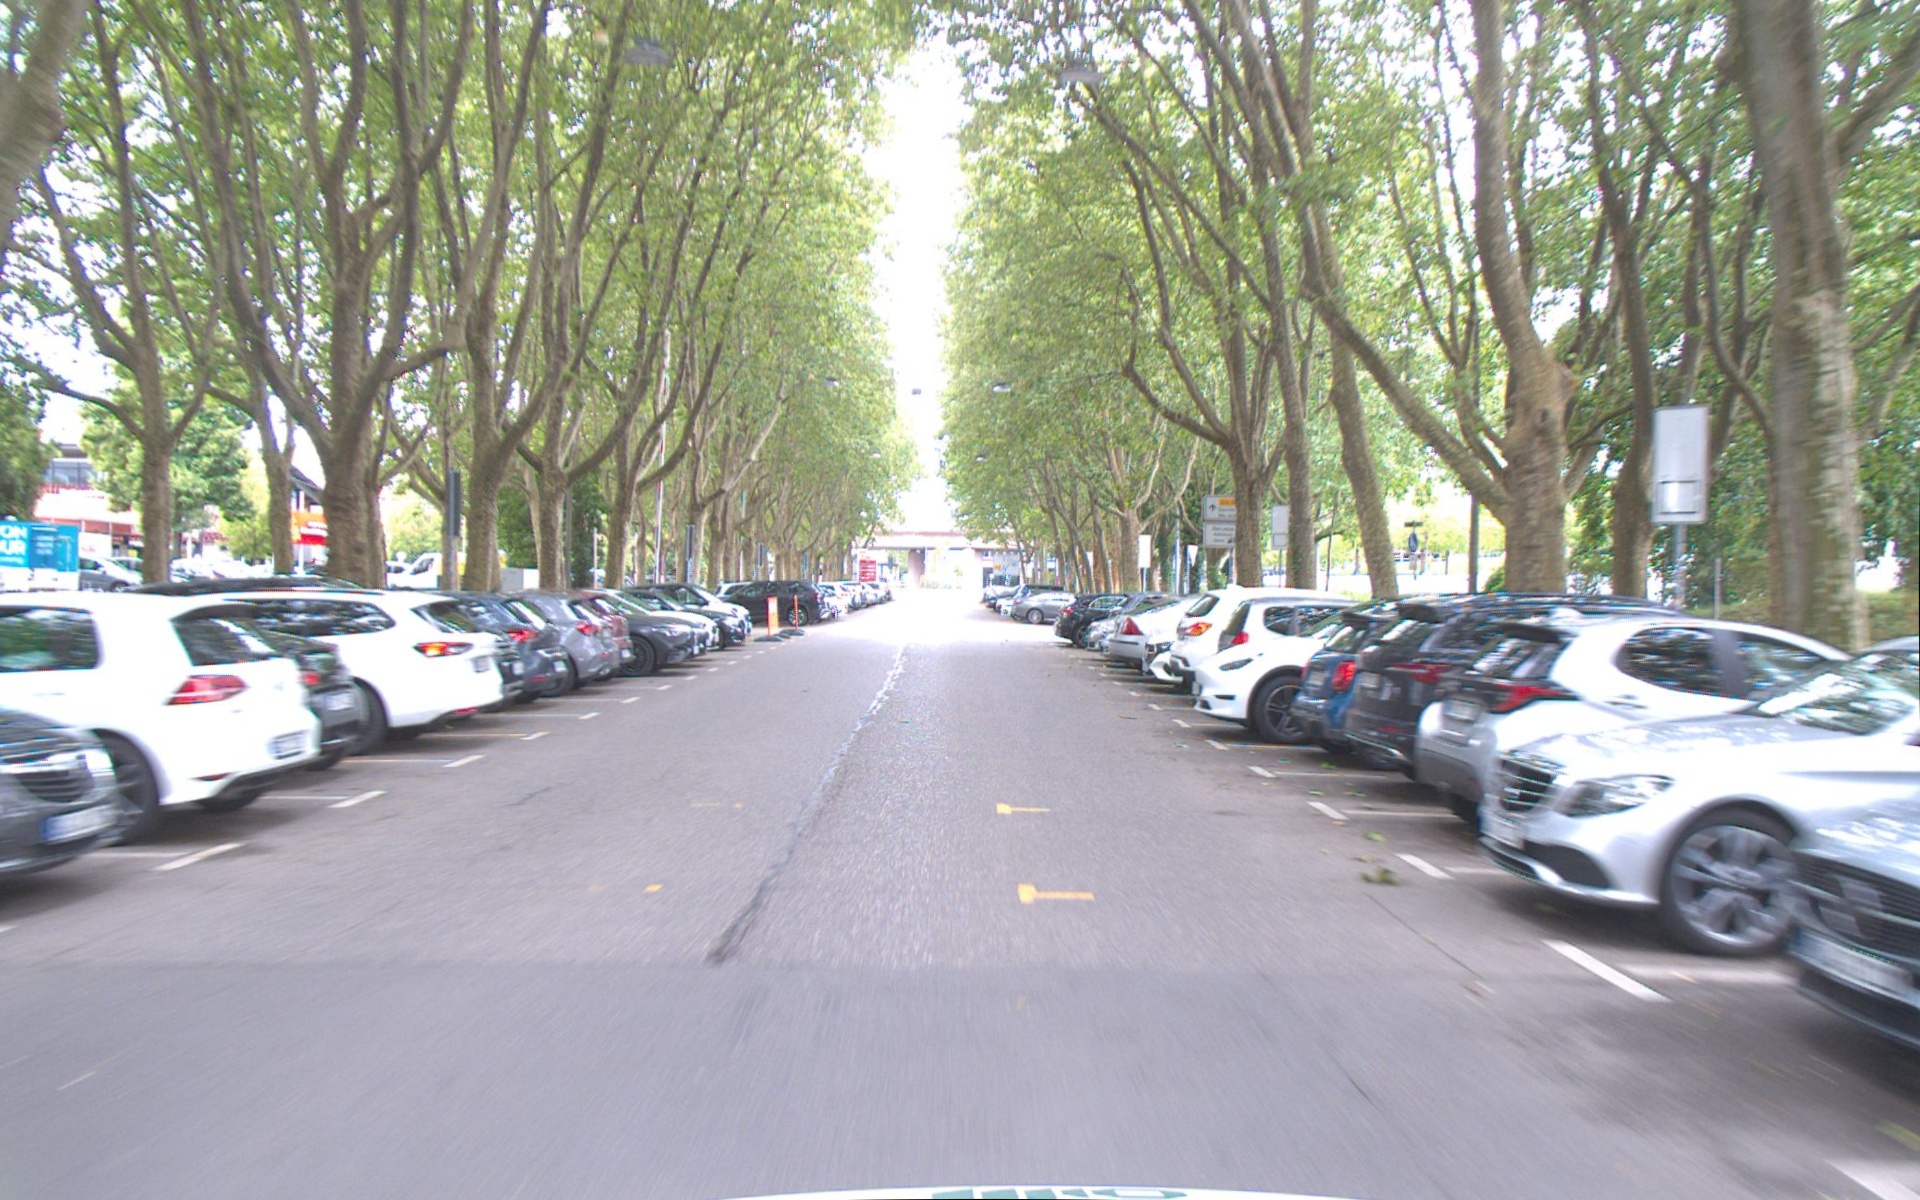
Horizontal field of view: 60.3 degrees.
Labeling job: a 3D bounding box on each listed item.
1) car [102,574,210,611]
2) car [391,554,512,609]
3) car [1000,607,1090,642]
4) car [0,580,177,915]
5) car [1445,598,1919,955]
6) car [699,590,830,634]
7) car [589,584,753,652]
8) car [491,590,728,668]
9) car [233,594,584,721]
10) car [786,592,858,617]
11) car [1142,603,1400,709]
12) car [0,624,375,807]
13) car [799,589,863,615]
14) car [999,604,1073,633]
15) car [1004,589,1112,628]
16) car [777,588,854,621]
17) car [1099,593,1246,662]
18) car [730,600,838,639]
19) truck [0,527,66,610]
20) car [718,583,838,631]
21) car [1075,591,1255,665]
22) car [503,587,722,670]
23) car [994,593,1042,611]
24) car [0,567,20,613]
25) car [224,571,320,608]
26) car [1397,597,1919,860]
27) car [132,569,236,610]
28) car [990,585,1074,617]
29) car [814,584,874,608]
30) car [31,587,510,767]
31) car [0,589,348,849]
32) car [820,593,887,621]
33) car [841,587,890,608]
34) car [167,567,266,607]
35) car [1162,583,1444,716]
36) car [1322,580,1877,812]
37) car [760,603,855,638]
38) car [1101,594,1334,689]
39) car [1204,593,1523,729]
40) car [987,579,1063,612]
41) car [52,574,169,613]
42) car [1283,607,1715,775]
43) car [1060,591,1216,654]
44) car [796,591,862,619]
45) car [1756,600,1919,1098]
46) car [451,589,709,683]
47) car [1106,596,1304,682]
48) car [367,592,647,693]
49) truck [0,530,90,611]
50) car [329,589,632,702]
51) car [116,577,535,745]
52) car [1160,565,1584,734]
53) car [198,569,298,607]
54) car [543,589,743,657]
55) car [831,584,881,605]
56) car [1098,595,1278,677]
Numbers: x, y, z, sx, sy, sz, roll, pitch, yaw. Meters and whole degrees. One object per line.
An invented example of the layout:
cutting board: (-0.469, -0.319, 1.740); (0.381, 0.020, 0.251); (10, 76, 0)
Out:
car: (-33.502, -0.321, 68.987); (3.680, 1.373, 1.535); (2, 0, -3)
car: (-23.133, -0.842, 75.366); (4.976, 2.271, 1.535); (2, 0, -2)
car: (3.990, 1.130, 77.371); (4.087, 1.467, 1.732); (2, 0, 4)
car: (-6.169, 0.631, 7.570); (4.313, 1.388, 1.693); (-1, 0, -4)
car: (4.728, 0.814, 8.067); (4.212, 1.495, 1.622); (2, 0, -4)
car: (-7.068, 0.436, 60.172); (4.571, 1.452, 1.999); (-1, 0, -2)
car: (-6.997, 0.419, 40.364); (3.751, 1.582, 1.693); (-1, 0, -4)
car: (-6.916, 0.567, 32.902); (4.309, 1.455, 1.695); (-1, 0, 2)
car: (-6.747, 0.676, 20.561); (3.750, 1.455, 1.801); (-1, 0, -2)
car: (-7.730, 0.257, 92.807); (3.733, 1.319, 1.787); (-1, 0, 5)
car: (4.699, 0.832, 25.218); (3.573, 1.434, 1.518); (2, 0, -4)
car: (-6.340, 0.840, 12.563); (3.250, 1.224, 1.584); (-1, 0, -4)
car: (-7.980, 0.123, 102.558); (3.733, 1.542, 1.687); (-1, 0, 5)
car: (4.210, 1.042, 92.283); (3.968, 1.494, 1.730); (2, 0, -3)
car: (4.174, 0.356, 70.190); (4.478, 1.512, 2.001); (2, 0, 4)
car: (-7.608, 0.216, 87.360); (3.733, 1.630, 1.787); (-1, 0, 5)
car: (5.203, 0.662, 40.777); (3.356, 1.534, 1.555); (2, 0, -2)
car: (-6.923, 0.746, 65.380); (4.083, 1.405, 1.870); (-1, 0, -2)
truck: (-34.120, -1.149, 57.246); (5.205, 2.790, 1.928); (2, 0, -1)
car: (-6.864, 0.254, 62.785); (4.382, 1.706, 1.762); (-1, 0, -2)
car: (4.376, 0.588, 35.551); (3.604, 1.448, 1.518); (2, 0, -2)
car: (-6.410, 0.518, 30.778); (3.751, 1.455, 1.693); (-1, -1, -4)
car: (5.294, 0.149, 151.871); (4.287, 1.549, 1.731); (2, 0, 0)
car: (-33.375, -0.393, 54.516); (3.725, 1.512, 1.712); (2, 0, -2)
car: (-33.156, -0.493, 79.727); (3.902, 1.617, 1.695); (2, 0, 8)
car: (4.960, 0.799, 10.834); (3.701, 1.495, 1.622); (2, 0, -4)
car: (-33.468, -0.450, 71.378); (3.680, 1.617, 1.535); (2, 0, -3)
car: (3.604, 0.044, 82.236); (4.087, 1.467, 1.732); (2, 0, 4)
car: (-7.769, -0.277, 110.629); (3.733, 1.542, 1.687); (-1, 0, 5)
car: (-6.304, 0.667, 15.454); (3.751, 1.523, 1.693); (-1, 0, -4)
car: (-5.969, 0.683, 10.195); (3.751, 1.455, 1.693); (-1, 0, -4)
car: (-6.252, 0.384, 97.264); (3.733, 1.542, 1.687); (-1, 0, 5)
car: (-7.542, -0.190, 131.836); (3.734, 1.542, 1.686); (1, 0, 2)
car: (-33.188, -0.582, 73.913); (3.680, 1.617, 1.535); (2, 0, -3)
car: (4.774, 0.668, 23.294); (3.573, 1.696, 1.518); (2, 0, -4)
car: (5.000, 0.715, 13.264); (3.701, 1.625, 1.819); (2, 0, -4)
car: (-6.440, 0.864, 70.011); (3.733, 1.377, 1.663); (-1, 0, 5)
car: (4.365, 0.690, 28.414); (3.573, 1.448, 1.984); (2, 0, -4)
car: (5.062, 0.744, 21.023); (3.573, 1.545, 1.642); (2, 0, -4)
car: (3.826, -0.270, 97.736); (4.289, 1.782, 1.730); (2, 0, -3)
car: (-32.819, -0.261, 63.937); (3.680, 1.373, 1.535); (2, 0, -2)
car: (5.042, 0.835, 15.727); (3.573, 1.395, 1.518); (2, 0, -4)
car: (4.597, 0.578, 43.029); (3.839, 1.477, 1.555); (2, 0, -2)
car: (-7.908, 0.295, 100.332); (3.733, 1.542, 1.687); (-1, 0, 5)
car: (5.175, 0.831, 5.220); (4.521, 1.495, 1.649); (2, 0, -1)
car: (-6.261, 0.571, 27.600); (3.941, 1.455, 1.693); (-1, 0, -4)
car: (4.511, 0.709, 30.729); (3.357, 1.448, 1.518); (2, 0, -4)
car: (-6.855, 0.624, 25.269); (3.746, 1.455, 1.695); (-1, 0, 3)
truck: (-34.767, -1.118, 59.988); (5.130, 2.790, 2.206); (2, 0, -1)
car: (-6.605, 0.606, 23.081); (3.751, 1.455, 1.693); (-1, 0, -4)
car: (-6.612, 0.596, 17.601); (3.751, 1.636, 1.857); (-1, 0, -4)
car: (4.400, 0.511, 18.043); (4.084, 1.624, 1.853); (2, 0, -4)
car: (-33.233, -0.563, 77.229); (3.902, 1.617, 1.695); (2, 0, 8)
car: (-7.149, 0.507, 37.609); (4.247, 1.455, 1.693); (-1, 0, -4)
car: (-8.163, -0.441, 129.794); (3.734, 1.542, 1.686); (1, 0, 2)
car: (4.487, 0.694, 32.831); (3.354, 1.448, 1.519); (2, 0, 1)
